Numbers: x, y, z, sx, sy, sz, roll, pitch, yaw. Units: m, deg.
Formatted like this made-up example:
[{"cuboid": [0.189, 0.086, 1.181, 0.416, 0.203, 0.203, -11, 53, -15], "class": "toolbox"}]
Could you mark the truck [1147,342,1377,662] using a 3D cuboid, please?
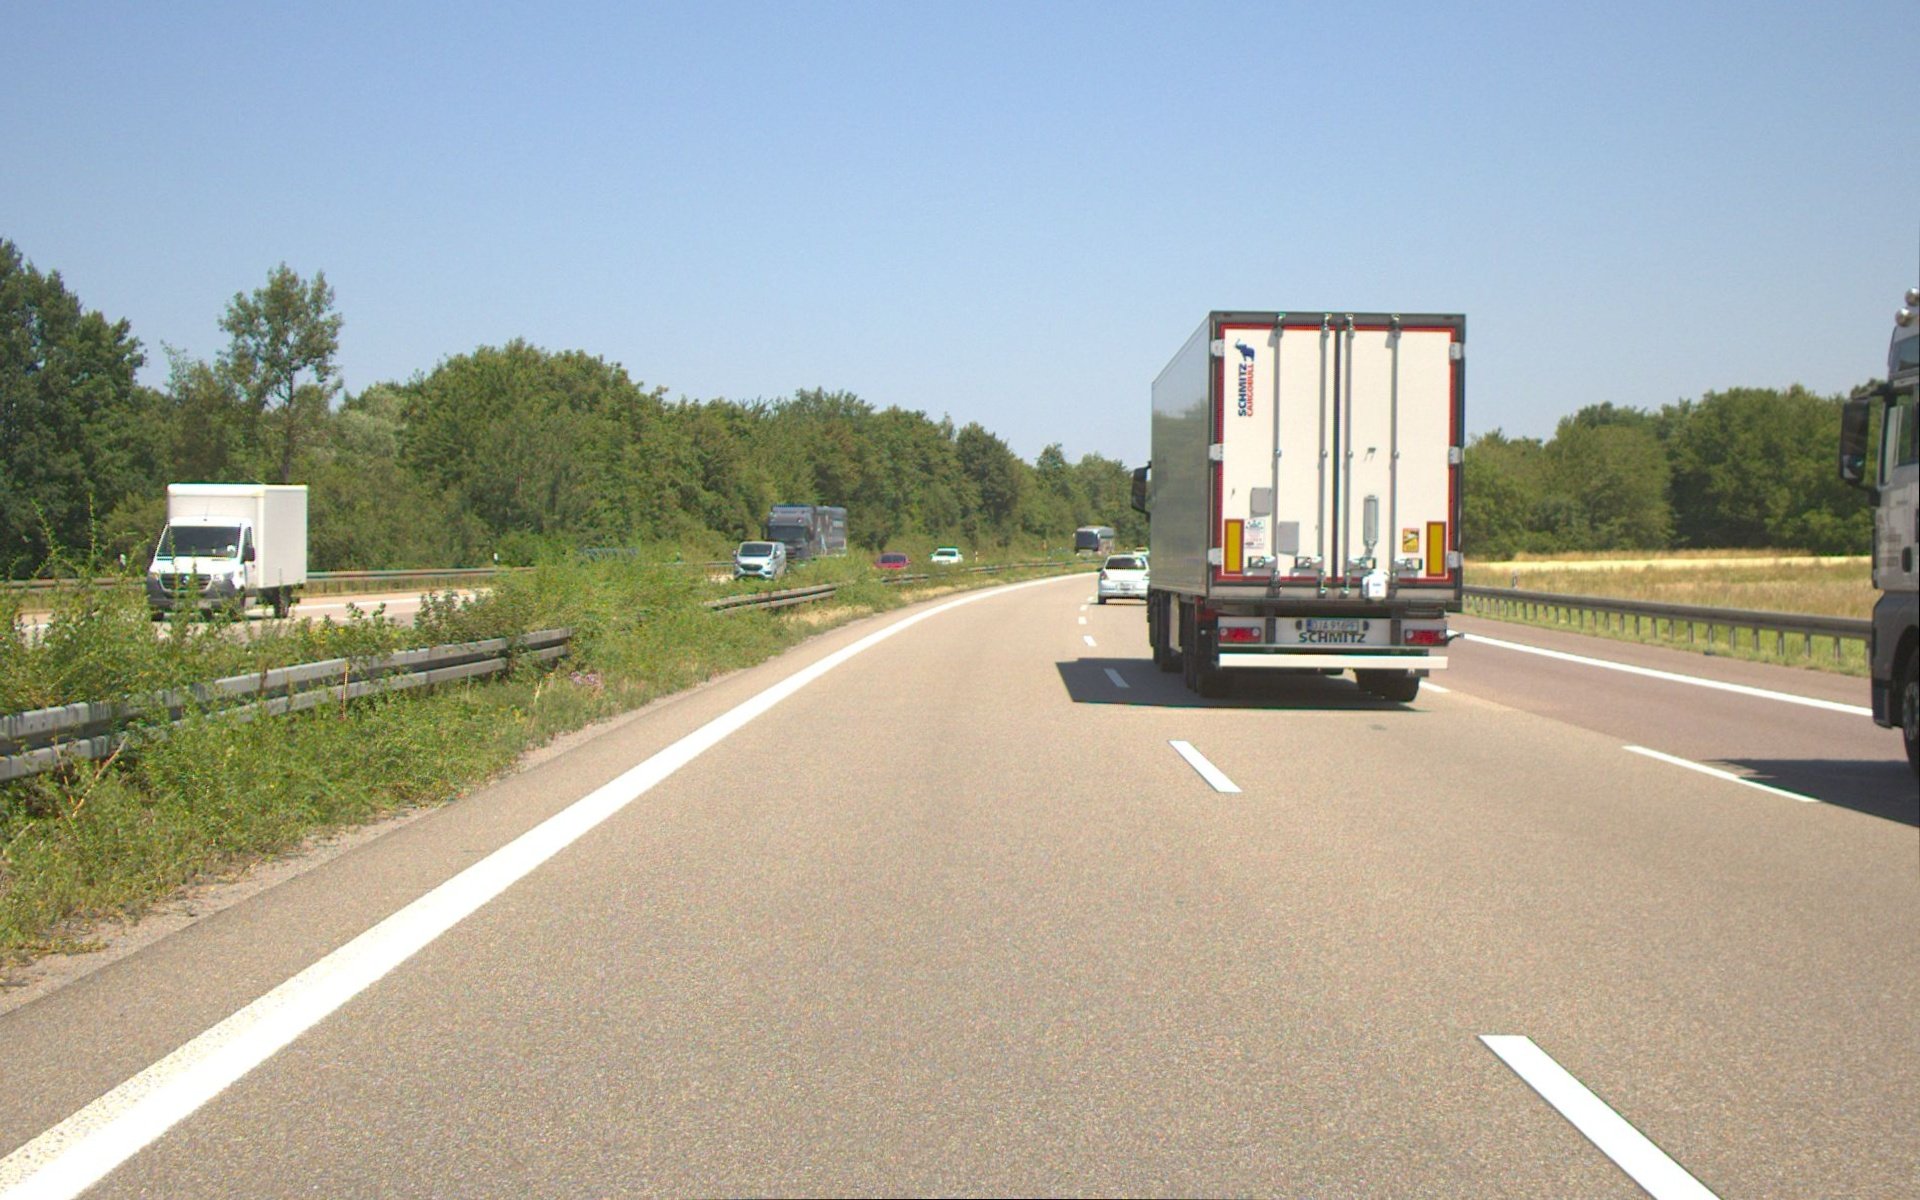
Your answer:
[{"cuboid": [4.165, -1.348, 48.423, 2.908, 4.241, 4.975, 1, 1, 2], "class": "truck"}]

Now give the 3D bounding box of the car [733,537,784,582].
[{"cuboid": [-9.485, -1.930, 161.850, 2.058, 2.064, 5.409, 0, 1, 0], "class": "car"}]

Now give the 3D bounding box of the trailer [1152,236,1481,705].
[{"cuboid": [3.939, -1.410, 41.288, 2.901, 4.641, 13.986, 1, 1, 2], "class": "trailer"}]

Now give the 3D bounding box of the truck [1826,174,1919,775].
[{"cuboid": [8.078, -0.874, 24.162, 2.600, 4.241, 5.089, 1, 1, 0], "class": "truck"}]

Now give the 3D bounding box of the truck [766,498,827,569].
[{"cuboid": [-9.119, -3.701, 191.923, 2.894, 3.902, 3.999, 0, 1, 5], "class": "truck"}]

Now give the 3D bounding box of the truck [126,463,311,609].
[{"cuboid": [-16.404, -1.420, 76.485, 2.451, 3.088, 6.990, 0, 1, 1], "class": "truck"}]

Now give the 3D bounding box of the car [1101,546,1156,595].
[{"cuboid": [5.179, -0.905, 105.405, 1.627, 1.474, 4.000, 0, 1, 4], "class": "car"}]
